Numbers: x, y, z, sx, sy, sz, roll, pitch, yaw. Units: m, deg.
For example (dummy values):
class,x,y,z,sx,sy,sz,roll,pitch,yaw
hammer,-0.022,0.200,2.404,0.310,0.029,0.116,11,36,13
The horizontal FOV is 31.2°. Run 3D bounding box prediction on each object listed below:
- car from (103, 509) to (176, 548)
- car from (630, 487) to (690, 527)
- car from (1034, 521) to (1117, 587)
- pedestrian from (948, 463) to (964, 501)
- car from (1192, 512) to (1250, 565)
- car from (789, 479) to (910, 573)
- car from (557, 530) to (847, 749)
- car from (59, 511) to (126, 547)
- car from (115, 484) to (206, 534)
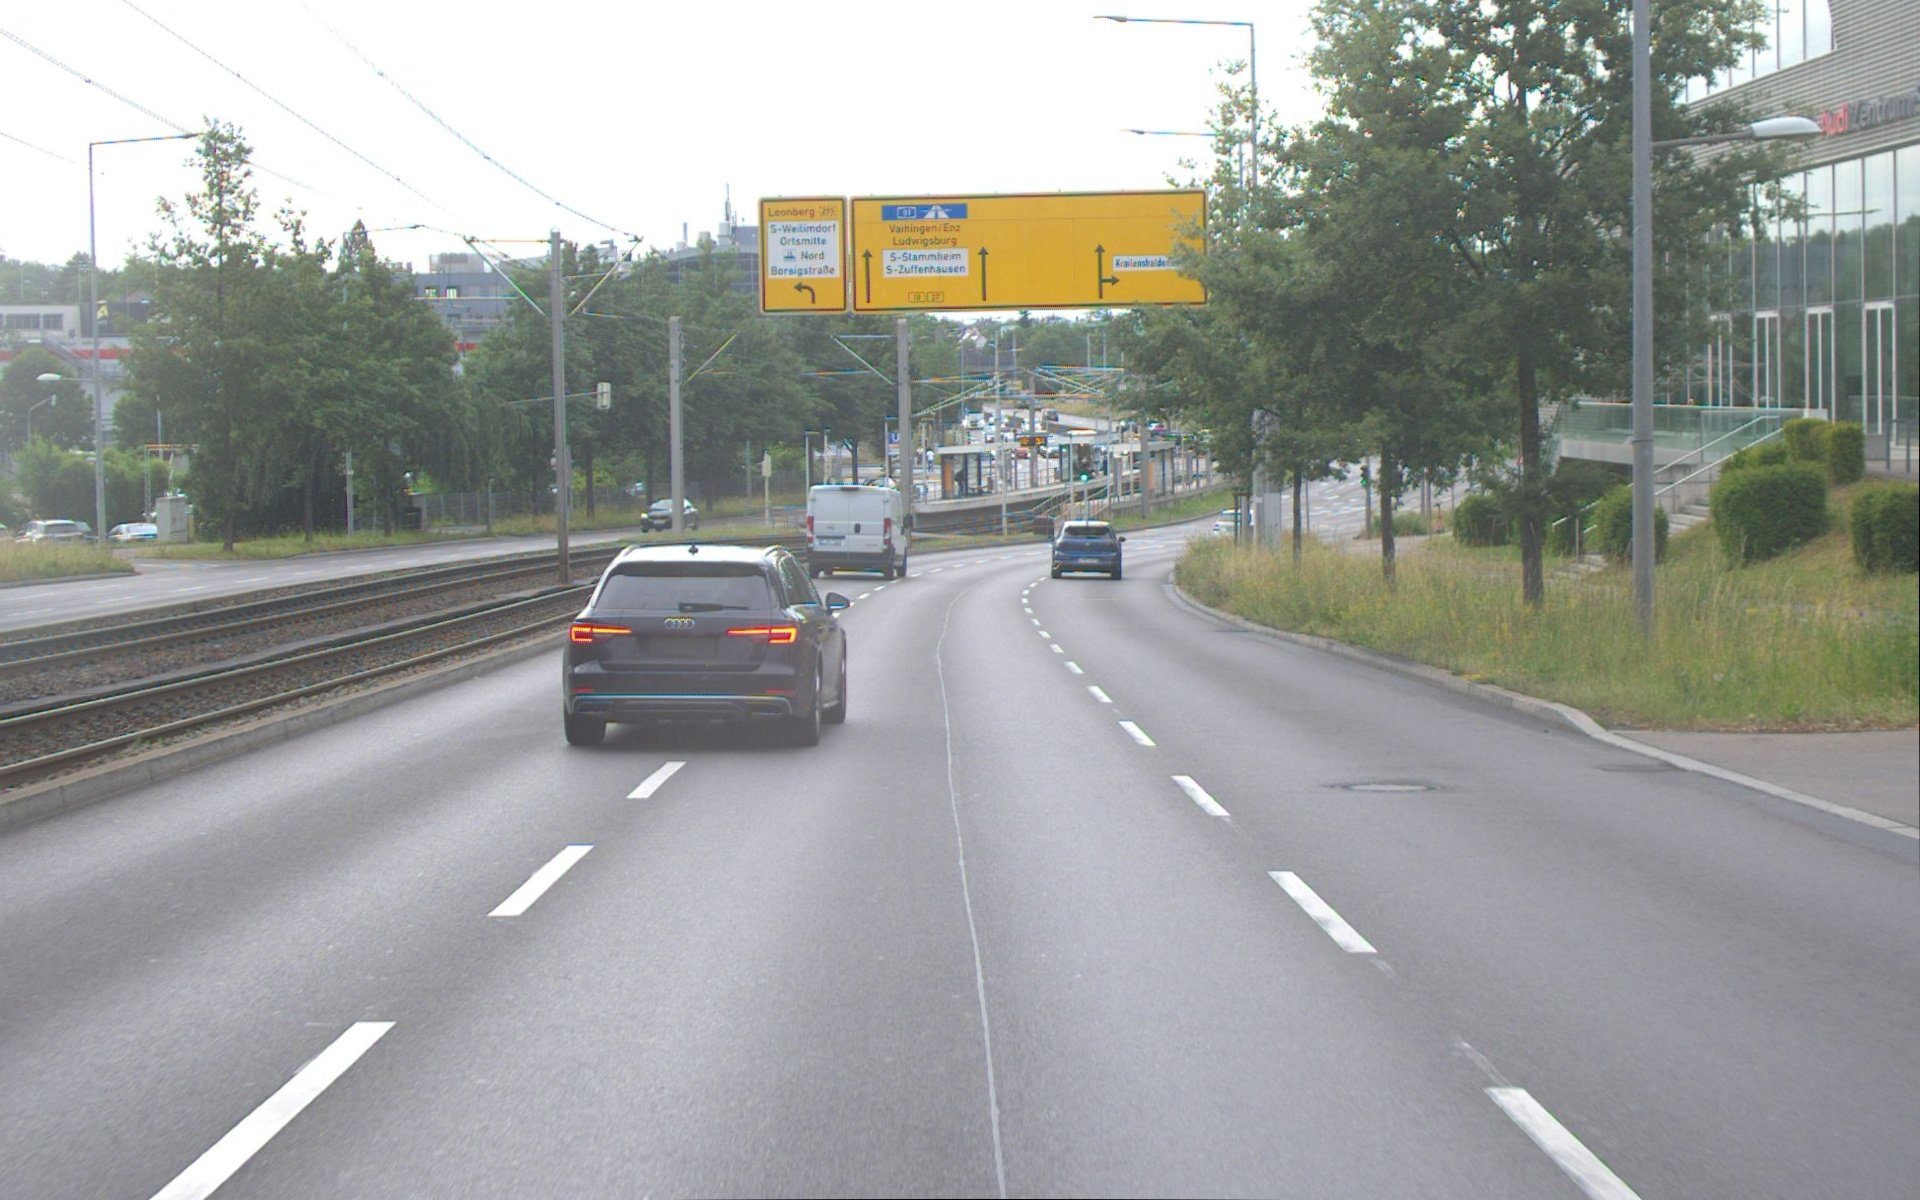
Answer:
class,x,y,z,sx,sy,sz,roll,pitch,yaw
car,-32.636,-2.844,136.722,1.993,1.505,4.001,1,1,-26
car,-12.637,-3.936,145.028,1.883,1.515,4.403,-3,2,2
car,2.930,-1.160,87.122,2.021,1.617,4.000,1,1,2
pedestrian,-0.218,-5.941,173.102,0.637,1.848,0.750,1,0,12
car,9.764,-2.319,128.432,2.021,1.763,4.000,1,4,6
car,-2.640,-1.759,83.445,2.511,2.169,5.149,1,1,3
car,-1.816,0.222,25.515,1.764,1.458,4.627,0,1,0
car,-37.337,-3.058,147.936,1.993,1.505,4.001,1,1,-26
car,-28.271,-3.211,121.670,1.994,1.645,3.999,1,1,5
